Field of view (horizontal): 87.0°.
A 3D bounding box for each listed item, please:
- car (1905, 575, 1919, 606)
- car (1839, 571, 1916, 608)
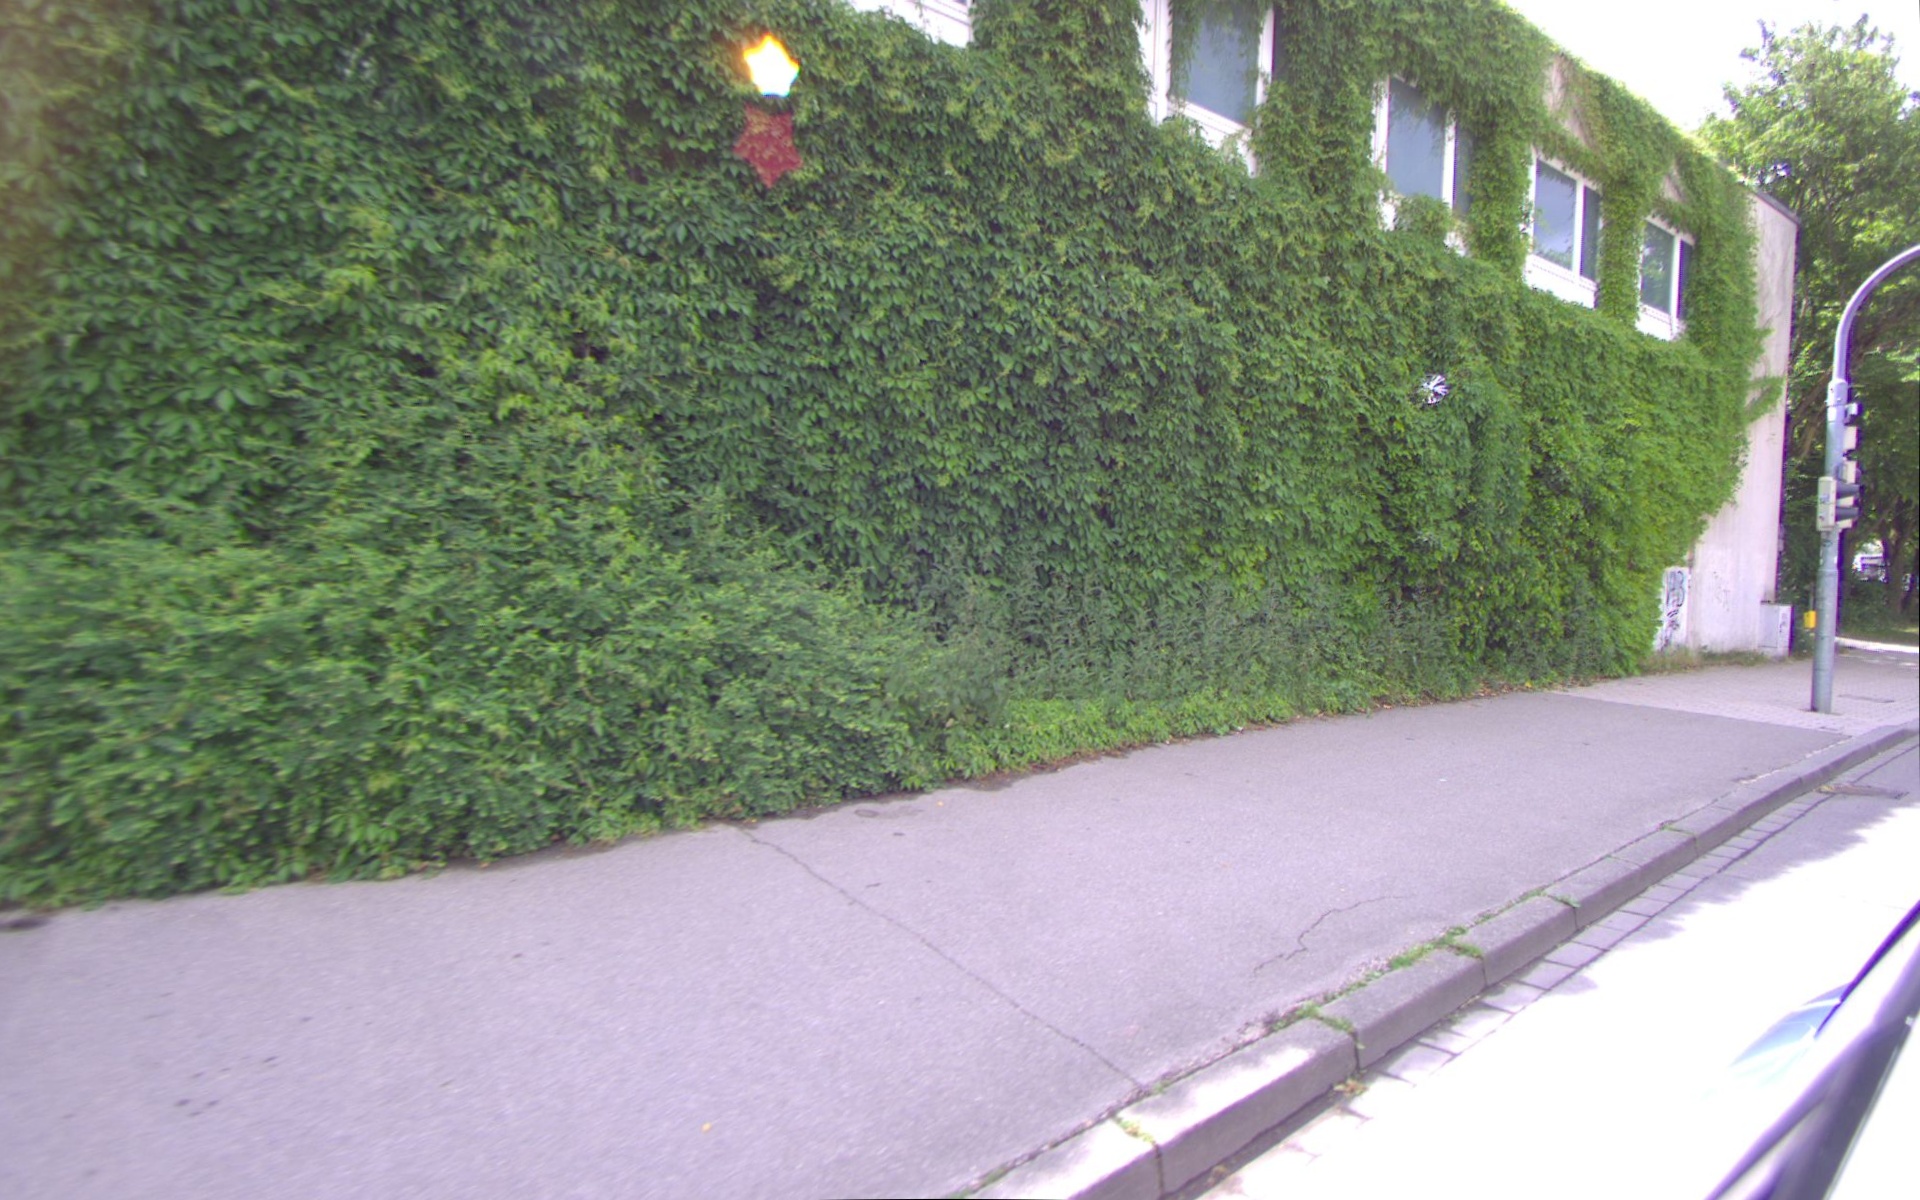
[{"bbox_3d":[49.707,-0.473,51.664,4.154,1.561,1.755,-1,2,-42],"label":"car"},{"bbox_3d":[39.886,-0.470,43.977,3.607,1.561,1.757,0,2,-36],"label":"car"}]
